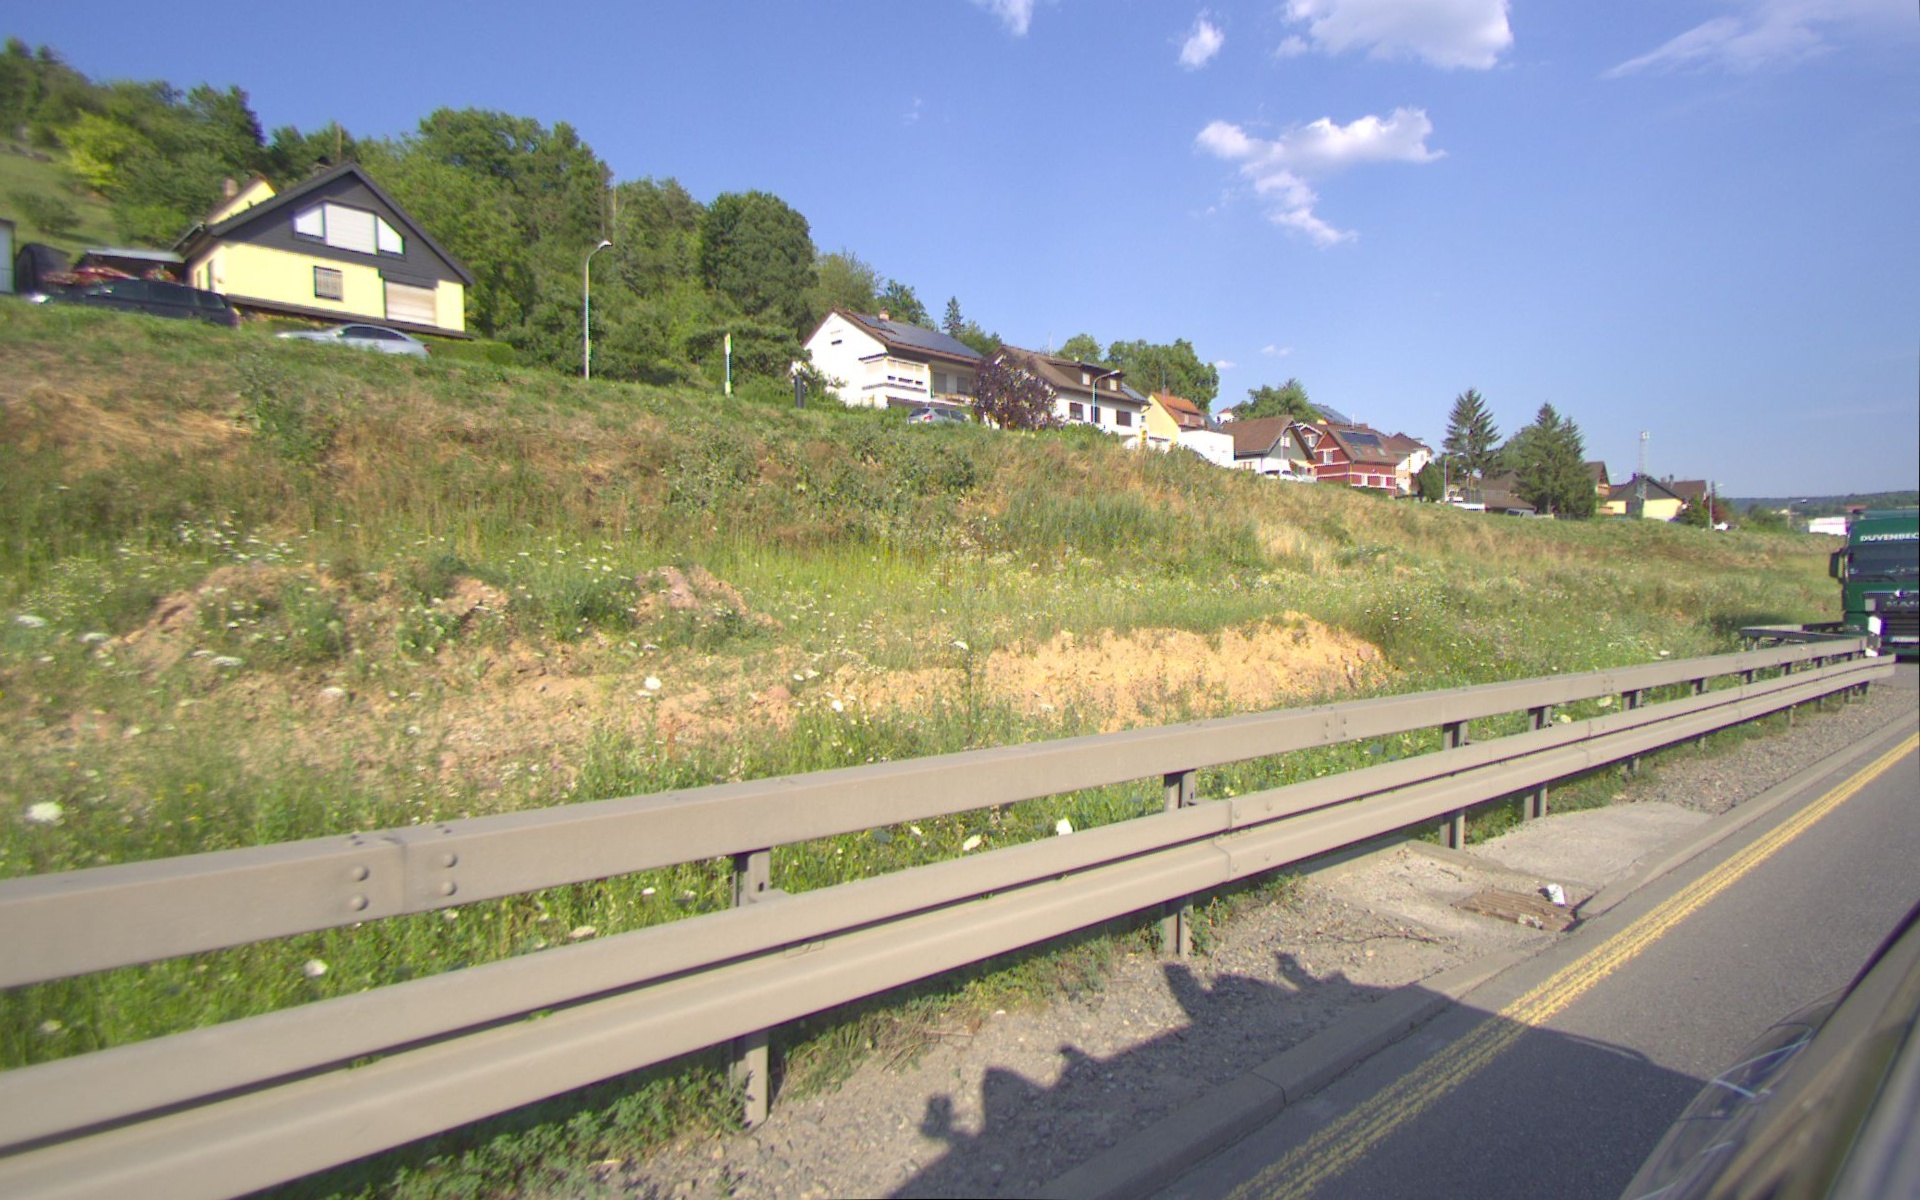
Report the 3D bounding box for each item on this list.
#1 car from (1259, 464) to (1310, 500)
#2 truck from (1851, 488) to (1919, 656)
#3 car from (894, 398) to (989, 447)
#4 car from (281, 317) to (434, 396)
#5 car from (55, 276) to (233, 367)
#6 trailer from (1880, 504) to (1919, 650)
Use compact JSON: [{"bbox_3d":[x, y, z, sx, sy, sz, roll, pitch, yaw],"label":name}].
[{"bbox_3d":[22.942,-8.280,71.513,1.992,2.039,3.940,0,0,41],"label":"car"},{"bbox_3d":[25.595,-0.697,26.474,5.964,4.066,2.545,0,0,-40],"label":"truck"},{"bbox_3d":[-0.797,-7.907,45.353,3.933,1.460,1.995,0,0,-43],"label":"car"},{"bbox_3d":[-17.194,-6.899,28.982,1.443,1.389,3.507,-1,0,39],"label":"car"},{"bbox_3d":[-20.456,-6.932,25.468,1.340,1.340,3.298,-1,0,37],"label":"car"},{"bbox_3d":[31.088,-0.675,31.228,11.867,3.984,2.552,0,0,-41],"label":"trailer"}]
